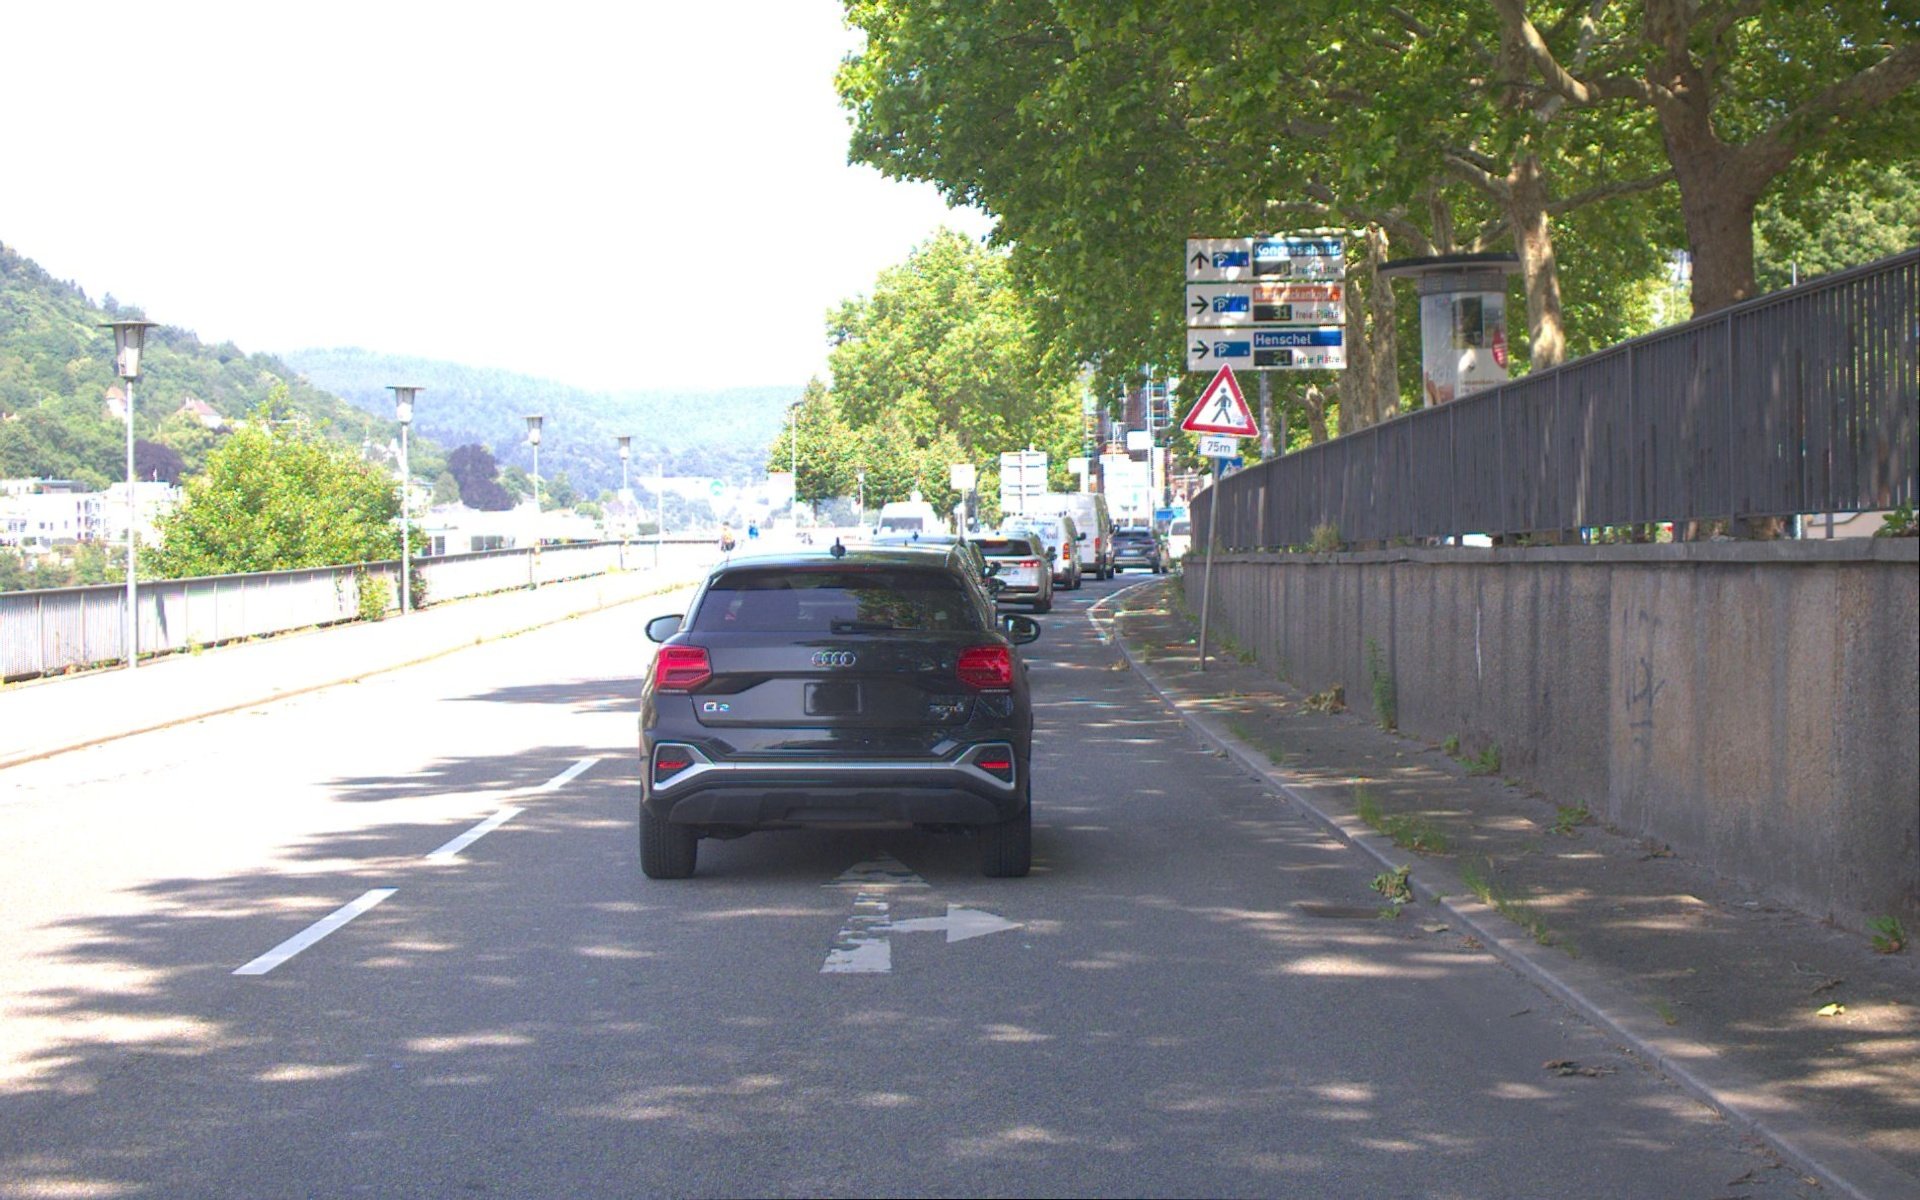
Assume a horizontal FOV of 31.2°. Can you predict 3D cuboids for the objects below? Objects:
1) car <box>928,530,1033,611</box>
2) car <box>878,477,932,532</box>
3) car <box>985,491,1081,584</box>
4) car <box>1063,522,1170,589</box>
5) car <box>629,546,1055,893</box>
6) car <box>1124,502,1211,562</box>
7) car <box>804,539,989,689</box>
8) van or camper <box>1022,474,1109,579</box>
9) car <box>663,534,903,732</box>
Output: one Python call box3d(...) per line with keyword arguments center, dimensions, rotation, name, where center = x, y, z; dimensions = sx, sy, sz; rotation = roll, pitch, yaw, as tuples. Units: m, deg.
box3d(center=(0.349, -0.566, 63.542), dimensions=(1.828, 1.439, 4.000), rotation=(0, 1, -1), name="car")
box3d(center=(-2.161, -3.755, 135.890), dimensions=(1.993, 2.007, 4.000), rotation=(-3, 1, -1), name="car")
box3d(center=(1.856, -1.585, 86.159), dimensions=(1.994, 2.162, 3.999), rotation=(-3, 1, 5), name="car")
box3d(center=(5.201, -1.490, 114.944), dimensions=(3.098, 2.007, 5.825), rotation=(-3, 1, -1), name="car")
box3d(center=(-0.545, 0.484, 16.782), dimensions=(1.828, 1.481, 4.000), rotation=(0, 1, -1), name="car")
box3d(center=(7.670, -2.504, 127.405), dimensions=(2.661, 2.007, 5.825), rotation=(-3, 1, -1), name="car")
box3d(center=(-0.668, 0.106, 36.008), dimensions=(1.828, 1.481, 4.000), rotation=(0, 1, -1), name="car")
box3d(center=(3.031, -2.134, 99.677), dimensions=(2.310, 2.837, 4.246), rotation=(-3, 1, 1), name="van or camper")
box3d(center=(-1.387, 0.218, 28.277), dimensions=(1.828, 1.506, 4.000), rotation=(0, 1, -1), name="car")
